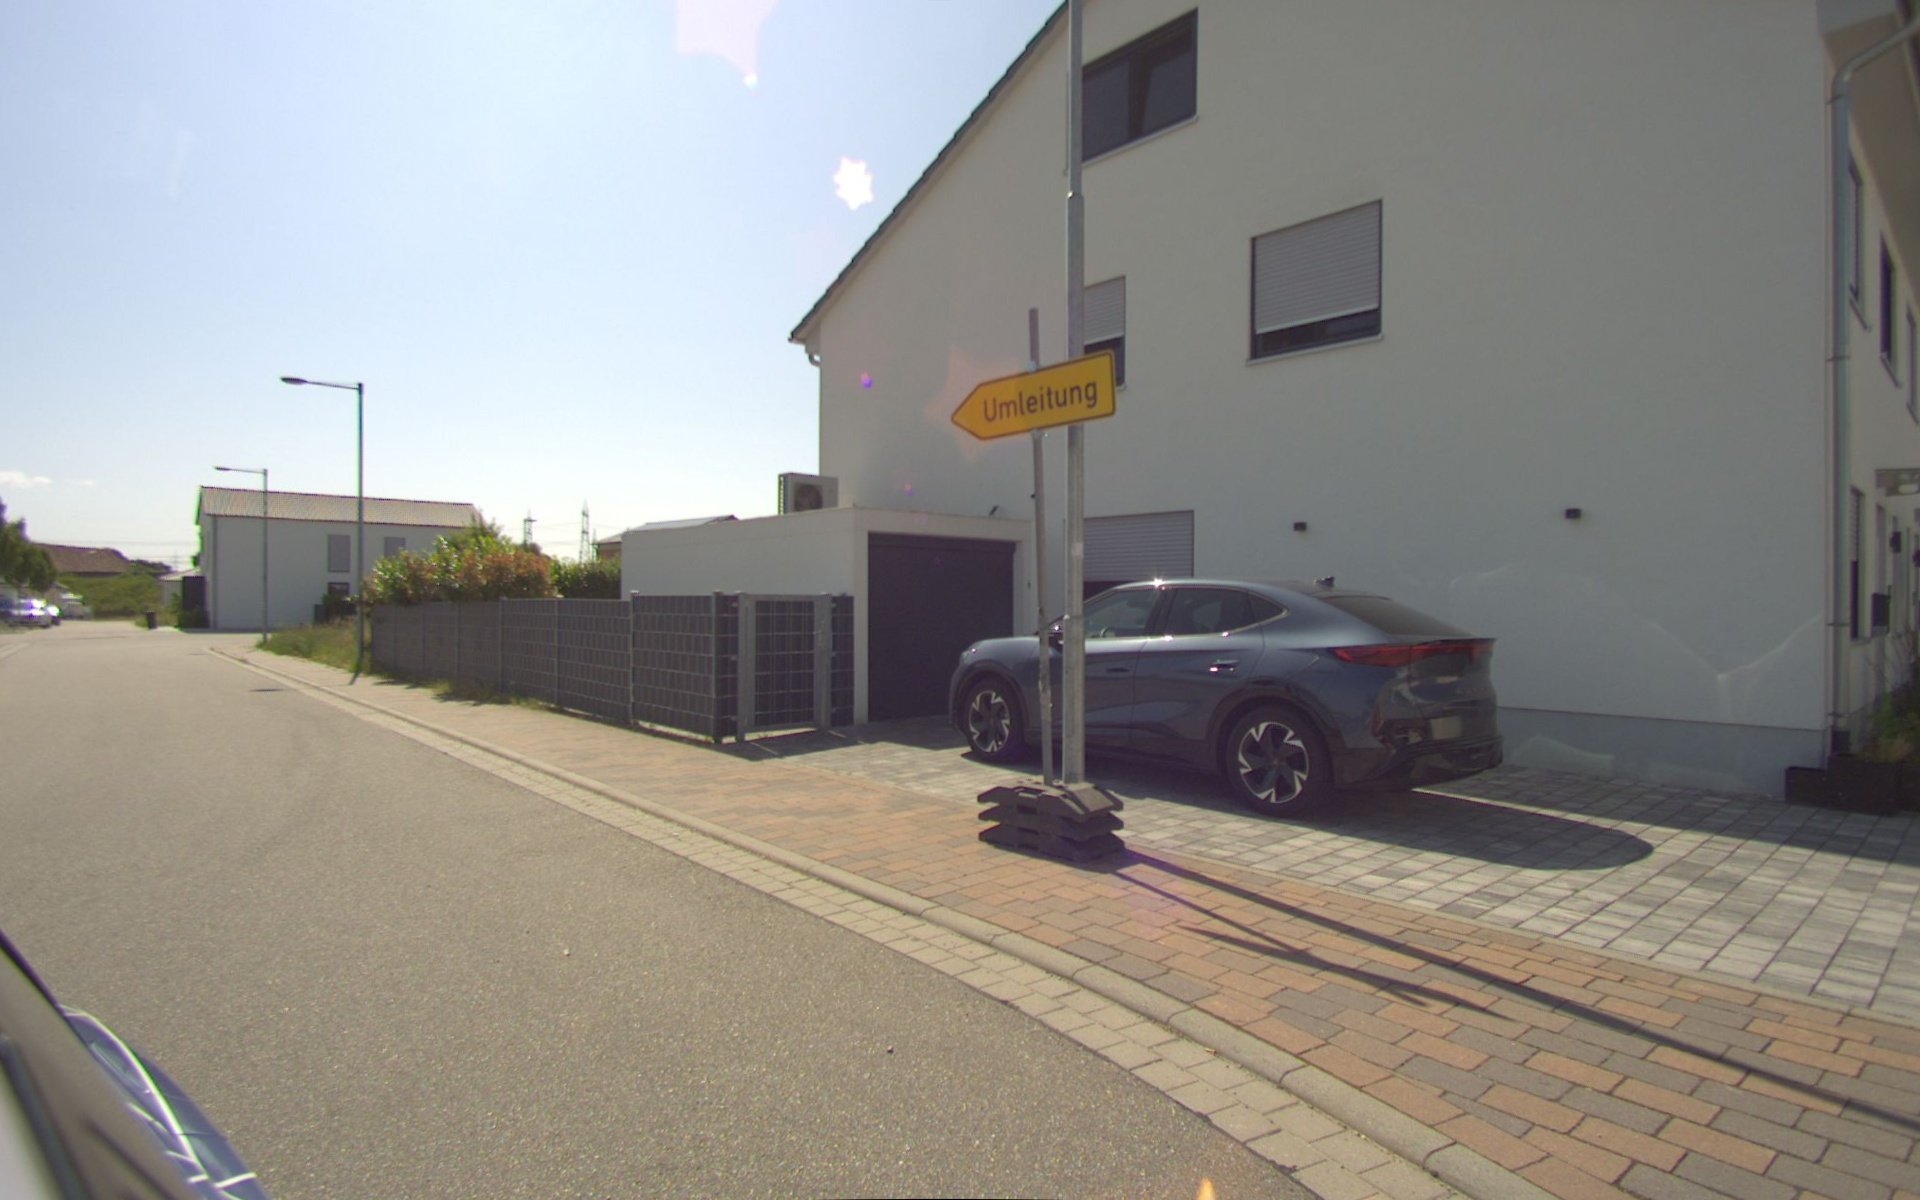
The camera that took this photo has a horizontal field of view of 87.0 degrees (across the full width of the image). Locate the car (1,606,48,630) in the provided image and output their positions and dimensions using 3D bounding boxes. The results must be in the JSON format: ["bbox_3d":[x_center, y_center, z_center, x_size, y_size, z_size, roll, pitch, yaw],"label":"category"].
[{"bbox_3d":[-58.131,1.127,62.945,1.895,1.431,4.428,1,-1,-40],"label":"car"}]

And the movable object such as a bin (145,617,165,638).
[{"bbox_3d":[-42.879,1.440,53.918,0.795,1.107,0.673,1,-1,-38],"label":"movable object such as a bin"}]

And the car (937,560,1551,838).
[{"bbox_3d":[1.944,0.596,8.017,1.930,1.570,4.357,1,-1,-41],"label":"car"}]
